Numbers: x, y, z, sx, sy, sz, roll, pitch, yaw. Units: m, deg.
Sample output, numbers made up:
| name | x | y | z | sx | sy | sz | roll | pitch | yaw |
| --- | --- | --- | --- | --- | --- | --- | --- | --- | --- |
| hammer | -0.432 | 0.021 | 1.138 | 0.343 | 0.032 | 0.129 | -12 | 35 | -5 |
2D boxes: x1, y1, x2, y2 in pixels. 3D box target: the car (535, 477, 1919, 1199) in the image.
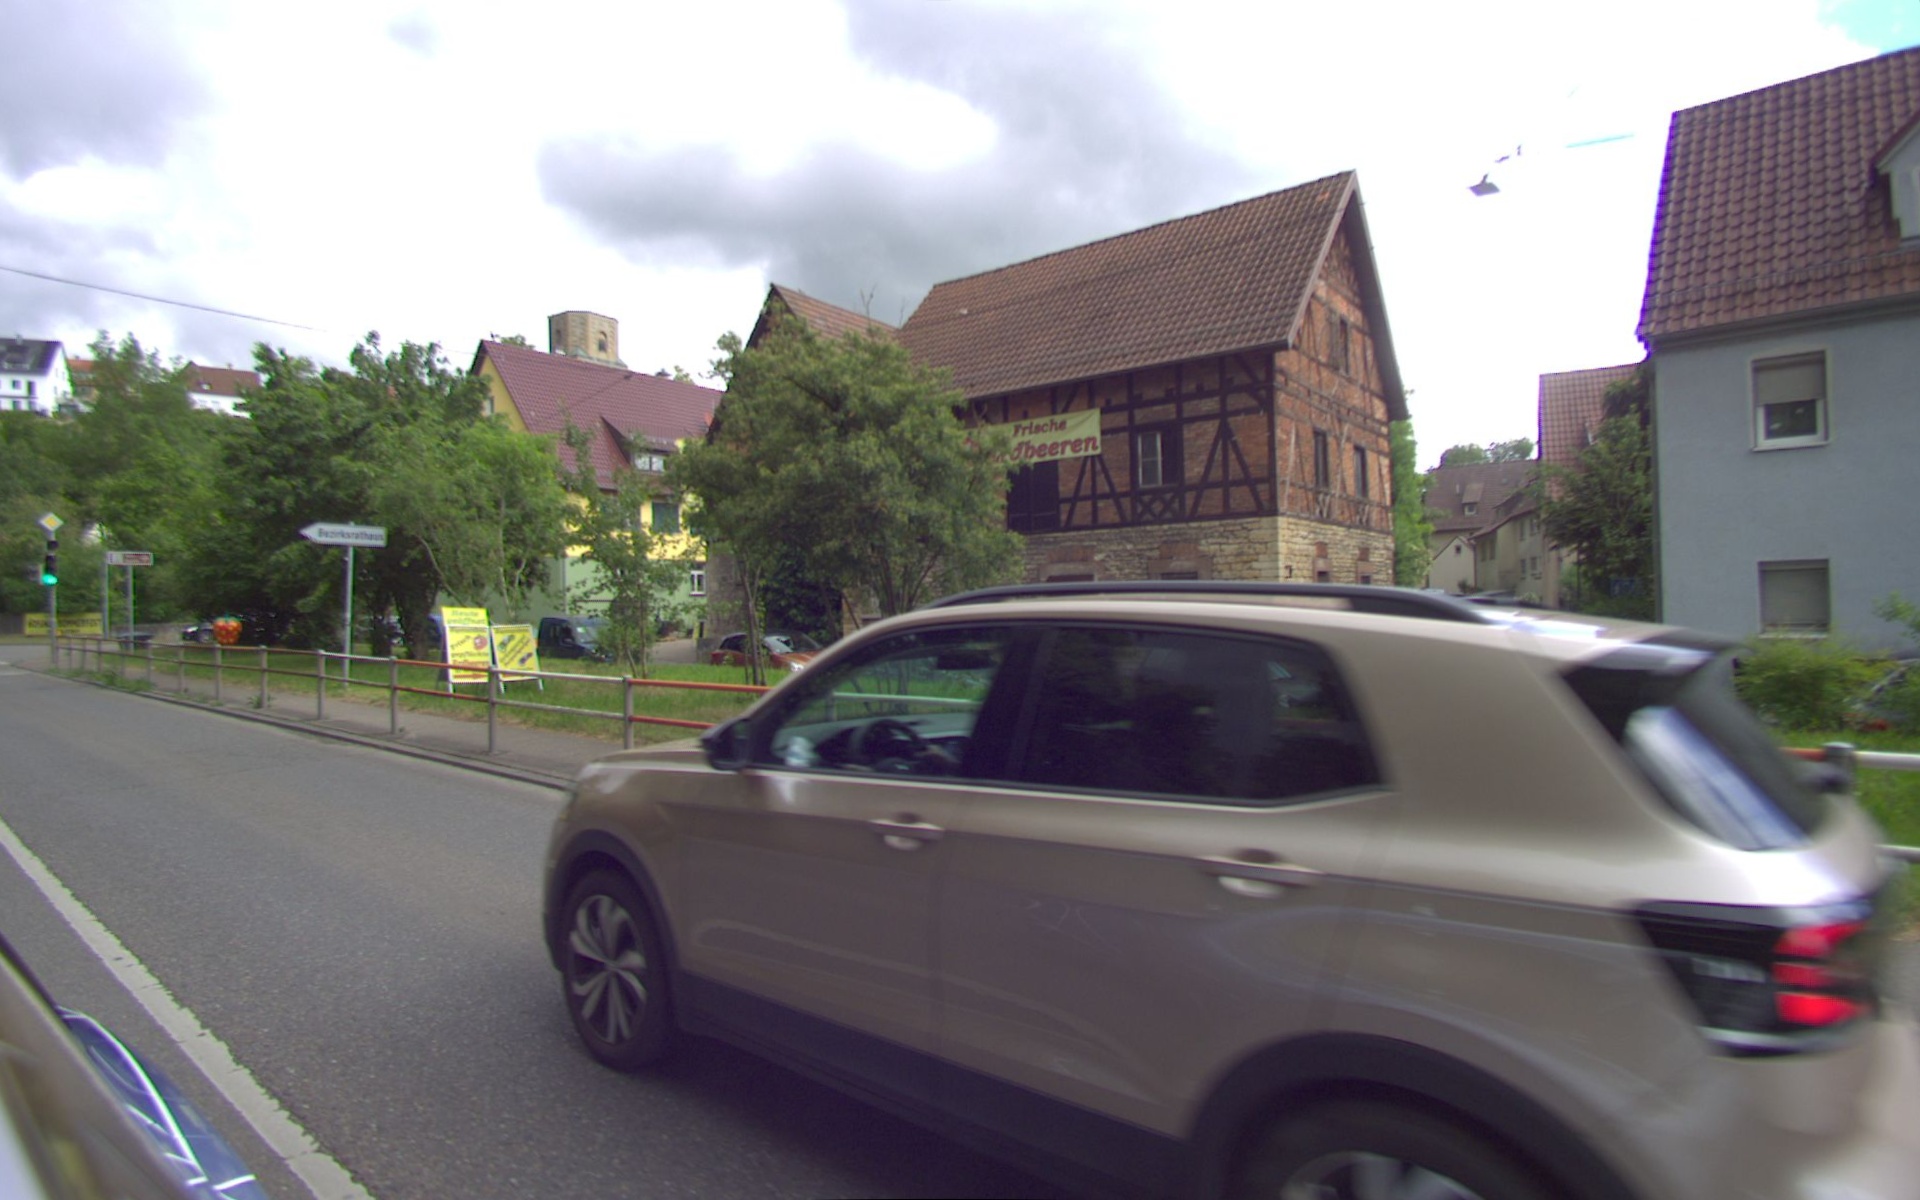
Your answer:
| name | x | y | z | sx | sy | sz | roll | pitch | yaw |
| --- | --- | --- | --- | --- | --- | --- | --- | --- | --- |
| car | 0.634 | 0.657 | 2.717 | 3.998 | 1.523 | 1.687 | -1 | -2 | 41 |

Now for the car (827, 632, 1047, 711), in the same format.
| name | x | y | z | sx | sy | sz | roll | pitch | yaw |
| --- | --- | --- | --- | --- | --- | --- | --- | --- | --- |
| car | -0.517 | 1.256 | 18.974 | 1.970 | 1.287 | 4.004 | 1 | -2 | -43 |

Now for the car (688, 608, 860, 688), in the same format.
| name | x | y | z | sx | sy | sz | roll | pitch | yaw |
| --- | --- | --- | --- | --- | --- | --- | --- | --- | --- |
| car | -4.236 | 1.029 | 22.717 | 4.001 | 1.630 | 1.791 | -1 | -2 | 44 |

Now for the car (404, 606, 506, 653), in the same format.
| name | x | y | z | sx | sy | sz | roll | pitch | yaw |
| --- | --- | --- | --- | --- | --- | --- | --- | --- | --- |
| car | -18.963 | 1.085 | 37.906 | 4.448 | 1.630 | 1.972 | -1 | -2 | 43 |

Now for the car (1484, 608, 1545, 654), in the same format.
| name | x | y | z | sx | sy | sz | roll | pitch | yaw |
| --- | --- | --- | --- | --- | --- | --- | --- | --- | --- |
| car | 18.995 | 1.027 | 34.710 | 1.708 | 1.443 | 3.961 | 2 | 0 | 28 |

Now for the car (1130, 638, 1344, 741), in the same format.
| name | x | y | z | sx | sy | sz | roll | pitch | yaw |
| --- | --- | --- | --- | --- | --- | --- | --- | --- | --- |
| car | 3.943 | 1.216 | 14.580 | 1.534 | 1.287 | 2.556 | 1 | -2 | -43 |

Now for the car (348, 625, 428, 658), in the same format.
| name | x | y | z | sx | sy | sz | roll | pitch | yaw |
| --- | --- | --- | --- | --- | --- | --- | --- | --- | --- |
| car | -24.227 | 1.717 | 42.793 | 4.149 | 1.355 | 1.628 | -1 | -2 | 41 |

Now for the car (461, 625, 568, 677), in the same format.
| name | x | y | z | sx | sy | sz | roll | pitch | yaw |
| --- | --- | --- | --- | --- | --- | --- | --- | --- | --- |
| car | -15.073 | 1.679 | 34.174 | 4.001 | 1.630 | 1.926 | -1 | -2 | 44 |

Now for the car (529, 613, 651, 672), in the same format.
| name | x | y | z | sx | sy | sz | roll | pitch | yaw |
| --- | --- | --- | --- | --- | --- | --- | --- | --- | --- |
| car | -10.927 | 1.216 | 29.776 | 4.001 | 1.630 | 1.791 | -1 | -2 | 44 |

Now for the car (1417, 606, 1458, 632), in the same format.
| name | x | y | z | sx | sy | sz | roll | pitch | yaw |
| --- | --- | --- | --- | --- | --- | --- | --- | --- | --- |
| car | 24.897 | 0.988 | 52.729 | 1.708 | 1.247 | 3.961 | 2 | 0 | 28 |
